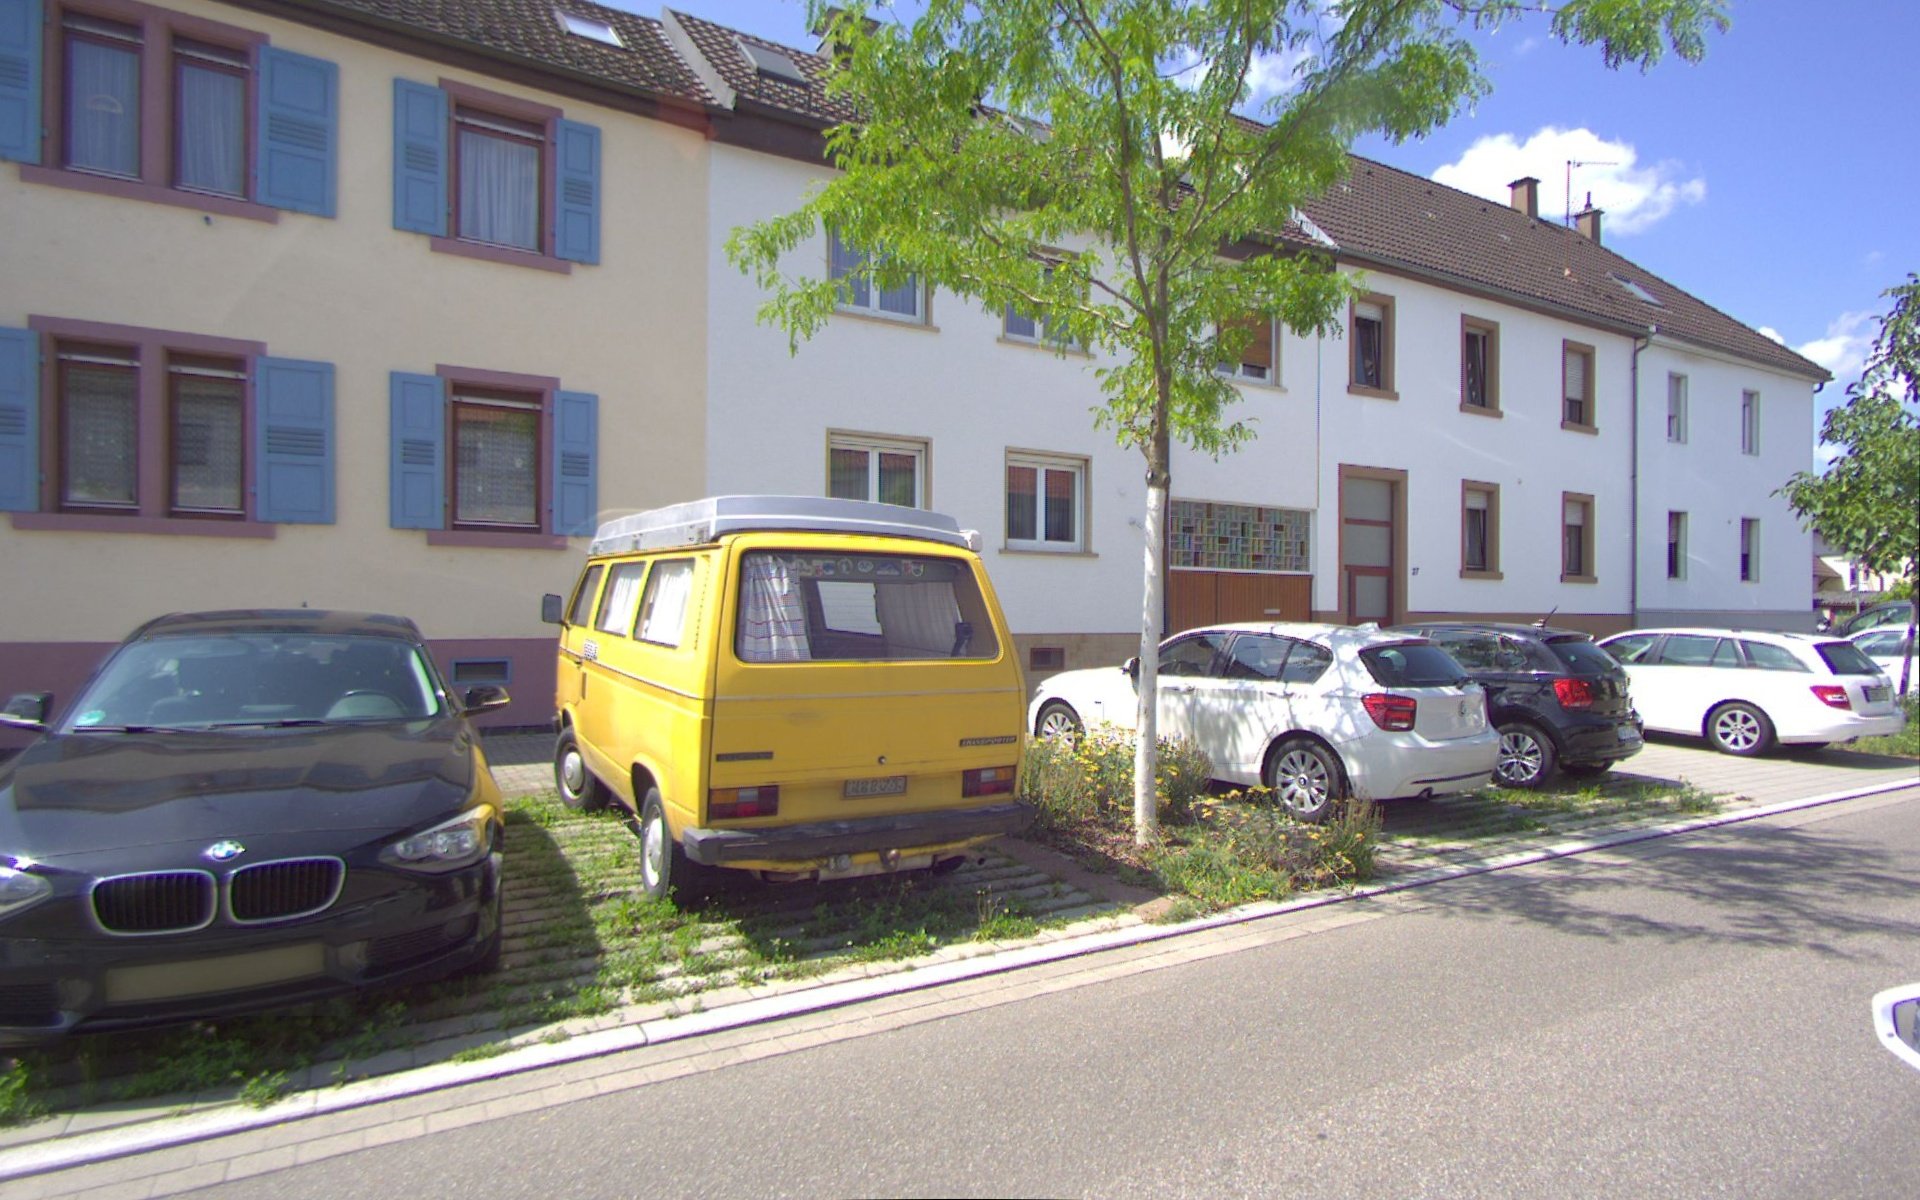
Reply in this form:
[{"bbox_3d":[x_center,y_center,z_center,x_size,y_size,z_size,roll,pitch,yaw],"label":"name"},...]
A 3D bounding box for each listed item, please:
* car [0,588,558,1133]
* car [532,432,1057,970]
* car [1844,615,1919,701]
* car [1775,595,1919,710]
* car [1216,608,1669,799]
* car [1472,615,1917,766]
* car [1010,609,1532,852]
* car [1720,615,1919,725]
[{"bbox_3d":[-3.147,0.717,4.784,1.735,1.479,3.990,1,0,-30],"label":"car"},{"bbox_3d":[-1.462,0.404,6.548,1.902,2.206,4.487,1,0,-30],"label":"car"},{"bbox_3d":[20.061,1.212,19.384,1.751,1.641,4.155,2,0,-30],"label":"car"},{"bbox_3d":[17.478,0.957,17.503,1.915,1.949,4.677,2,0,-30],"label":"car"},{"bbox_3d":[4.734,0.892,10.322,1.644,1.487,3.849,2,0,-38],"label":"car"},{"bbox_3d":[9.126,1.017,12.926,1.752,1.487,4.277,2,0,-28],"label":"car"},{"bbox_3d":[2.420,0.885,8.697,1.738,1.487,4.040,1,0,-38],"label":"car"},{"bbox_3d":[15.073,1.127,16.161,1.755,1.589,4.158,2,0,-33],"label":"car"}]
